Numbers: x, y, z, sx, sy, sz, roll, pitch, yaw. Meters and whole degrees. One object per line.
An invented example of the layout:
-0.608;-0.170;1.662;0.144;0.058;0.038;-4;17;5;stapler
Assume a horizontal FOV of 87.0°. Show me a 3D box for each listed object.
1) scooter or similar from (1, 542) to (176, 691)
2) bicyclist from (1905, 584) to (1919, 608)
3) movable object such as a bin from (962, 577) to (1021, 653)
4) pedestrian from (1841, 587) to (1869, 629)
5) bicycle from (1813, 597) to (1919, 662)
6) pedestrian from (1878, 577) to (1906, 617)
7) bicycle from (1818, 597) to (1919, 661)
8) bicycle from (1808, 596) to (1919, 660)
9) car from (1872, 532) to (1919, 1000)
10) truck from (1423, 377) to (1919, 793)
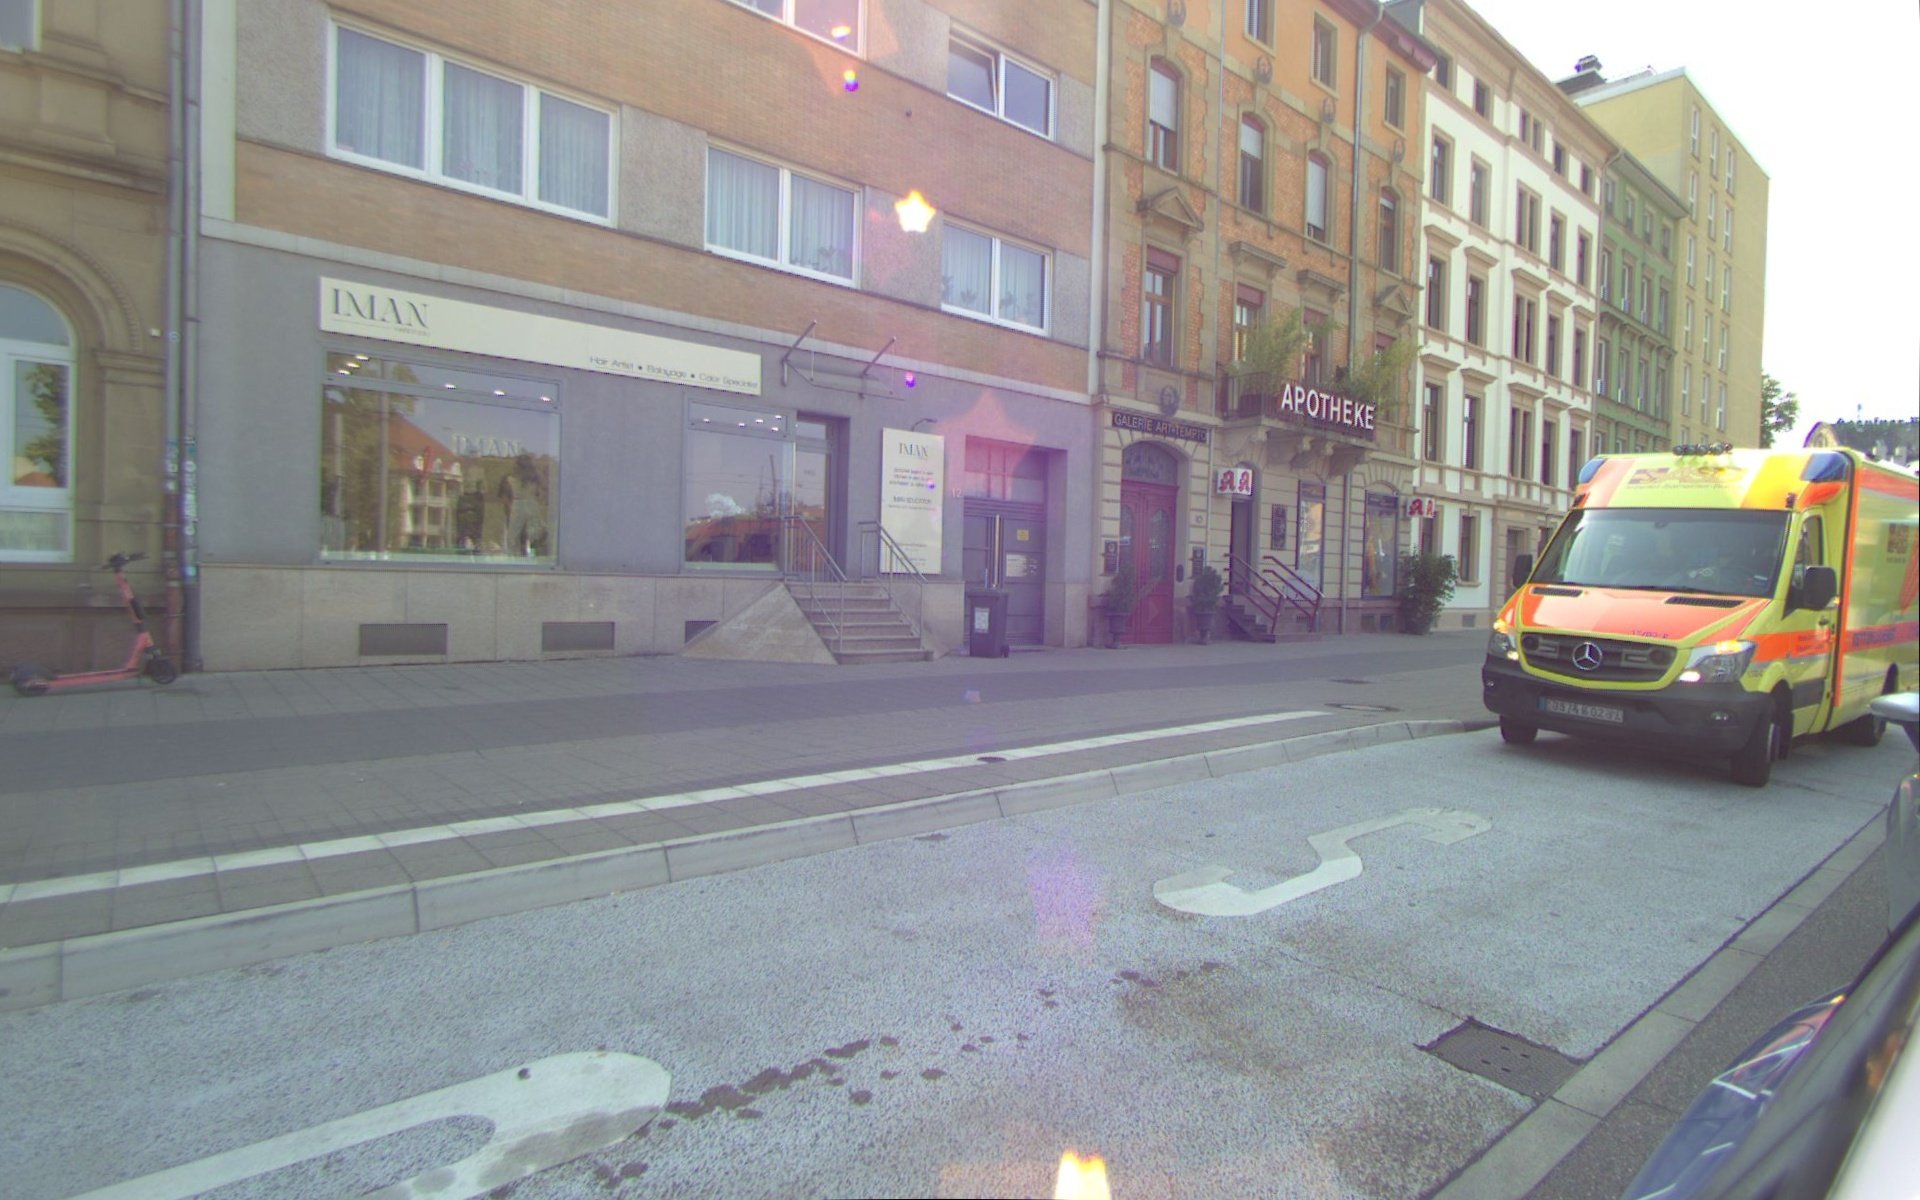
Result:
-7.654;0.125;8.911;0.476;1.227;1.124;3;2;44;scooter or similar
64.181;-0.258;68.064;1.083;1.606;0.721;1;1;-40;bicyclist
0.487;0.215;15.660;0.640;1.118;0.723;3;2;24;movable object such as a bin
38.726;0.329;43.800;0.781;1.780;0.689;1;2;-35;pedestrian
17.970;0.563;19.857;0.427;1.219;1.841;1;0;-39;bicycle
40.036;-0.124;43.476;0.781;1.648;0.646;1;2;-32;pedestrian
18.307;0.561;20.122;0.427;1.219;1.841;1;0;-39;bicycle
18.467;0.550;20.578;0.427;1.235;1.841;1;0;-39;bicycle
5.270;0.584;4.172;3.929;1.608;1.728;0;1;-40;car
7.231;-0.178;9.639;6.221;2.803;2.336;0;4;-37;truck
